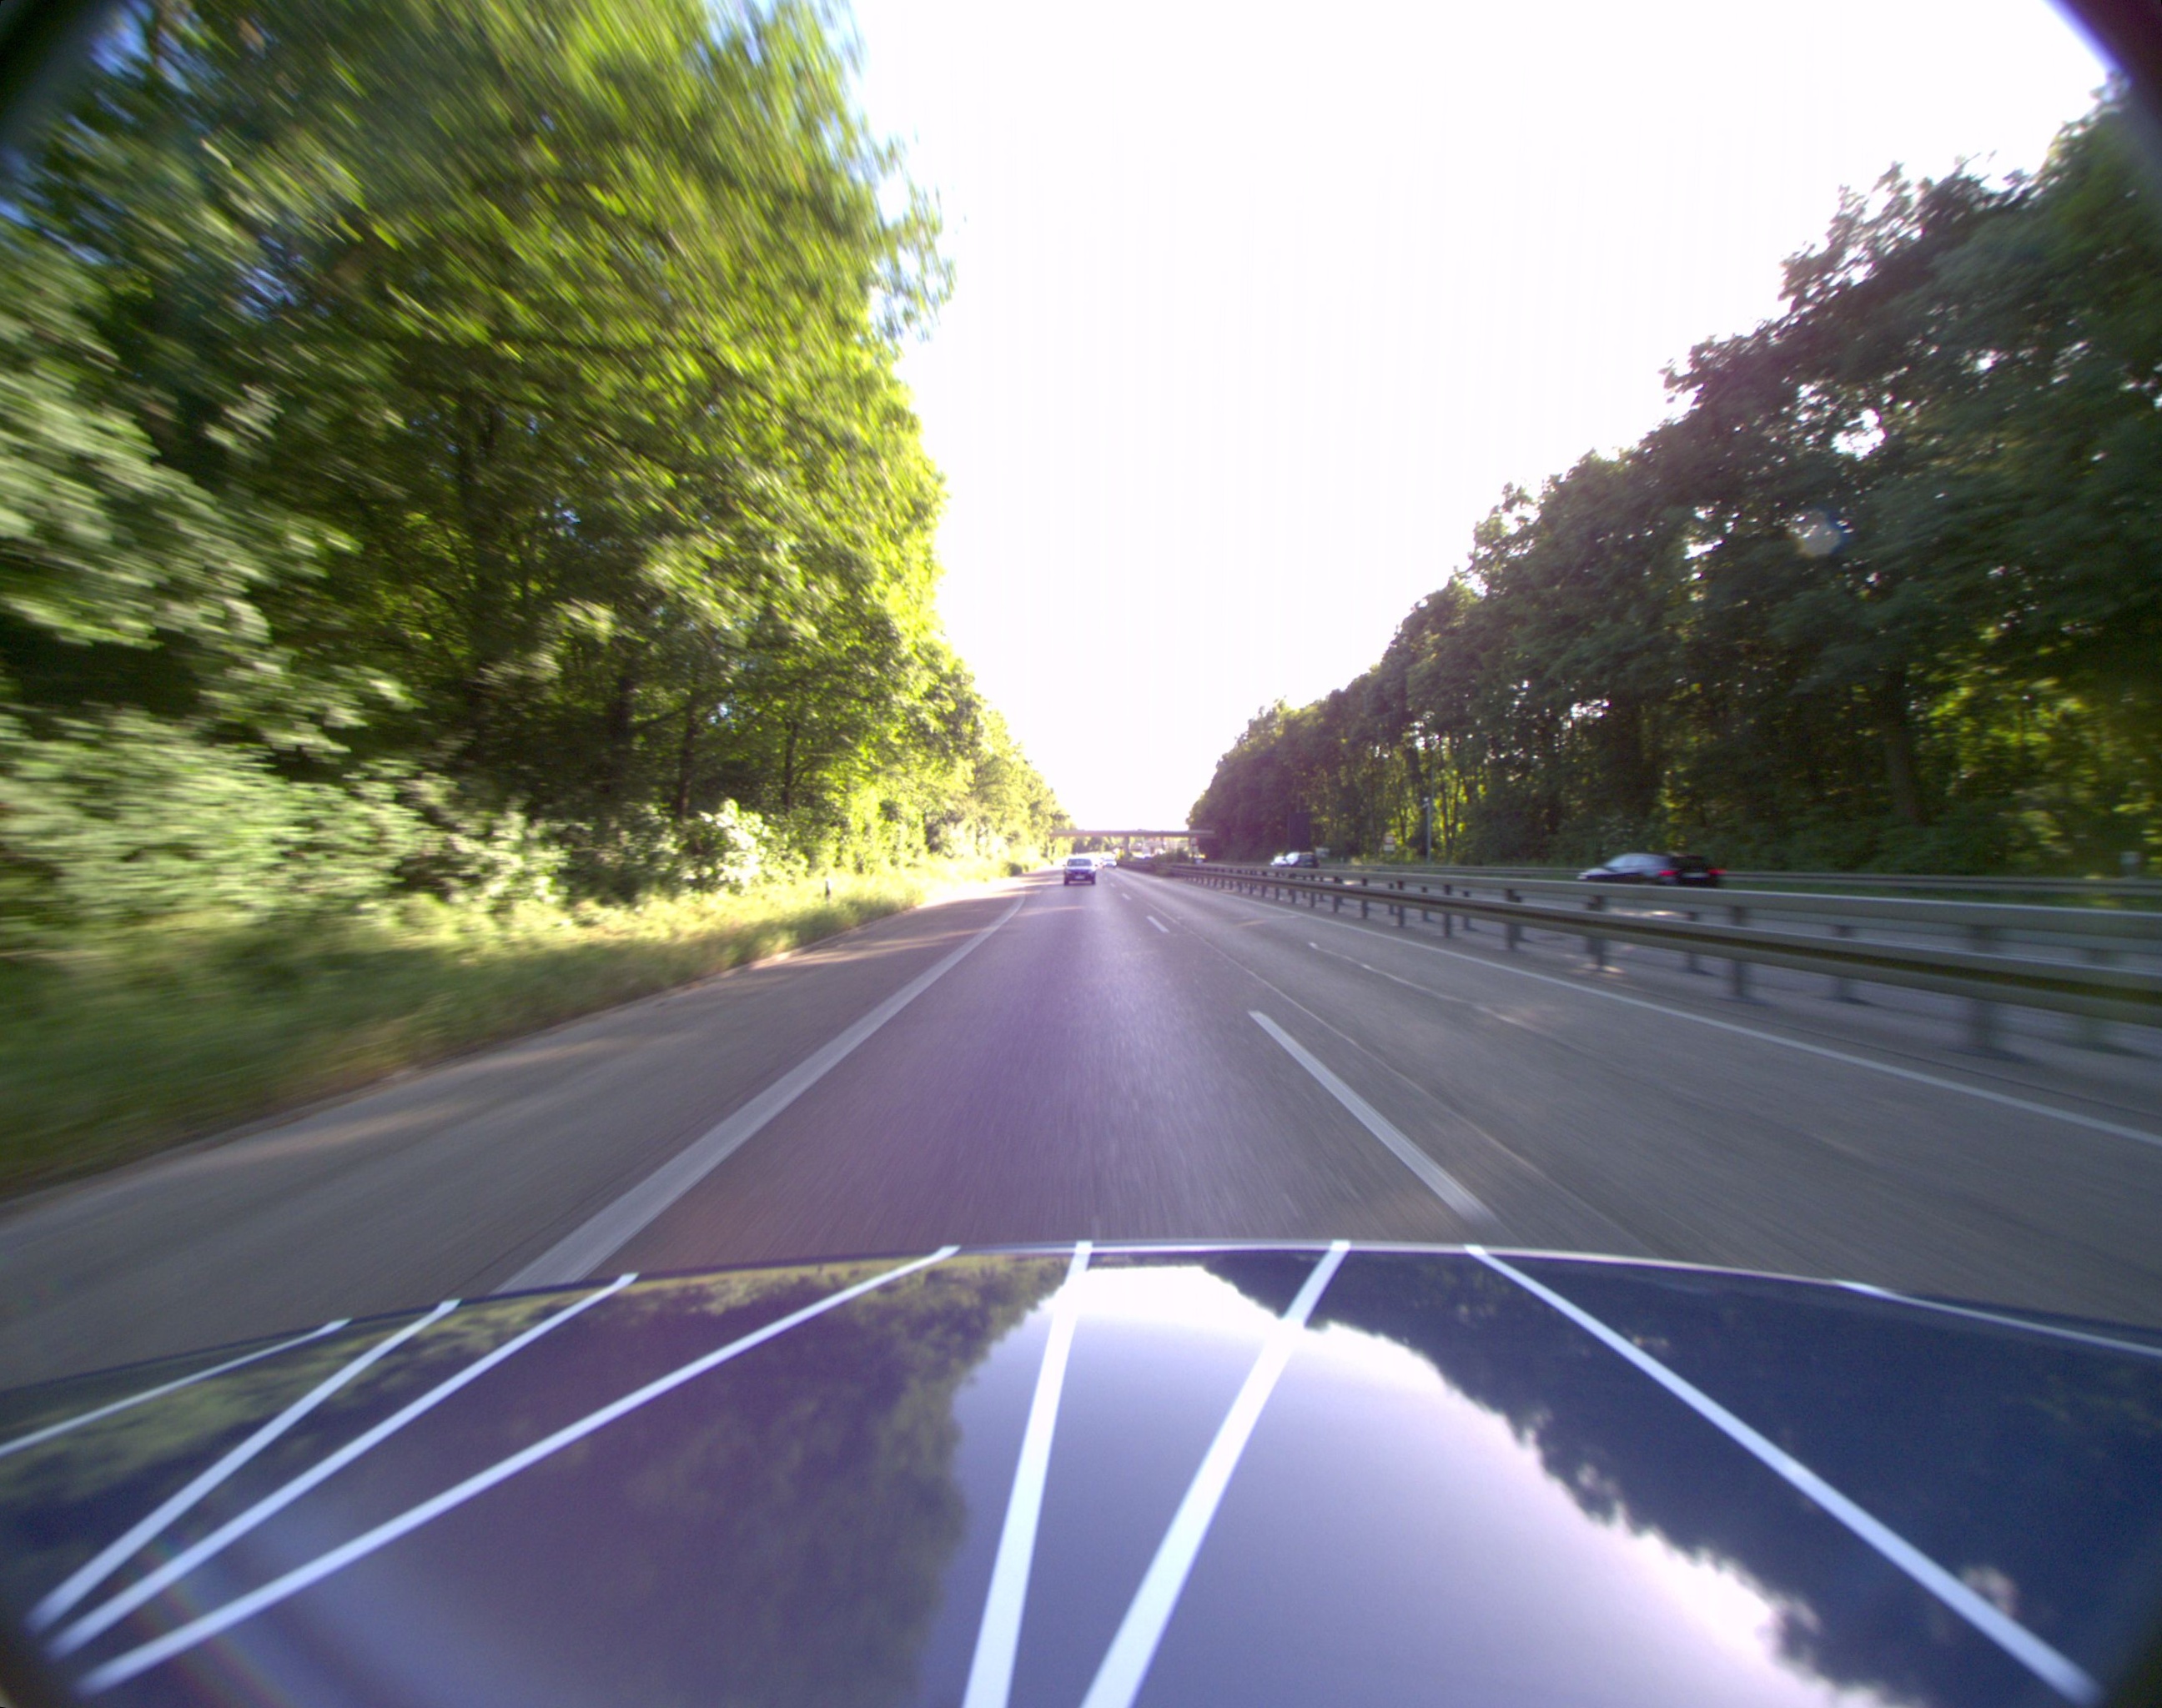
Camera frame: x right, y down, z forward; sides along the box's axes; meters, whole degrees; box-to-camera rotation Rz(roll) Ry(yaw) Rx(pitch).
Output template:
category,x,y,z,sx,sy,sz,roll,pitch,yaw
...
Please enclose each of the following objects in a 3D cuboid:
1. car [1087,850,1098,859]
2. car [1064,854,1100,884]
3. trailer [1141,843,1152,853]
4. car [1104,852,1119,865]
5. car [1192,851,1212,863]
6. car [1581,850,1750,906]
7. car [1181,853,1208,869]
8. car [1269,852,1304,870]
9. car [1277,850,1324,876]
category,x,y,z,sx,sy,sz,roll,pitch,yaw
car,2.436,0.142,160.103,1.998,1.740,4.373,1,1,2
car,0.107,0.814,42.799,1.712,1.565,3.423,-2,0,4
trailer,22.363,-1.985,261.156,2.937,3.149,11.916,1,1,2
car,4.280,0.575,106.642,1.998,1.793,4.000,1,1,2
car,16.081,0.429,101.250,1.998,1.531,4.118,1,1,0
car,17.451,0.655,22.977,1.998,1.477,4.000,1,1,0
car,11.673,0.721,78.450,1.998,1.551,4.707,1,1,0
car,19.014,0.645,70.454,1.998,1.591,4.707,1,1,0
car,15.601,0.590,54.276,1.998,1.689,4.907,1,1,0
